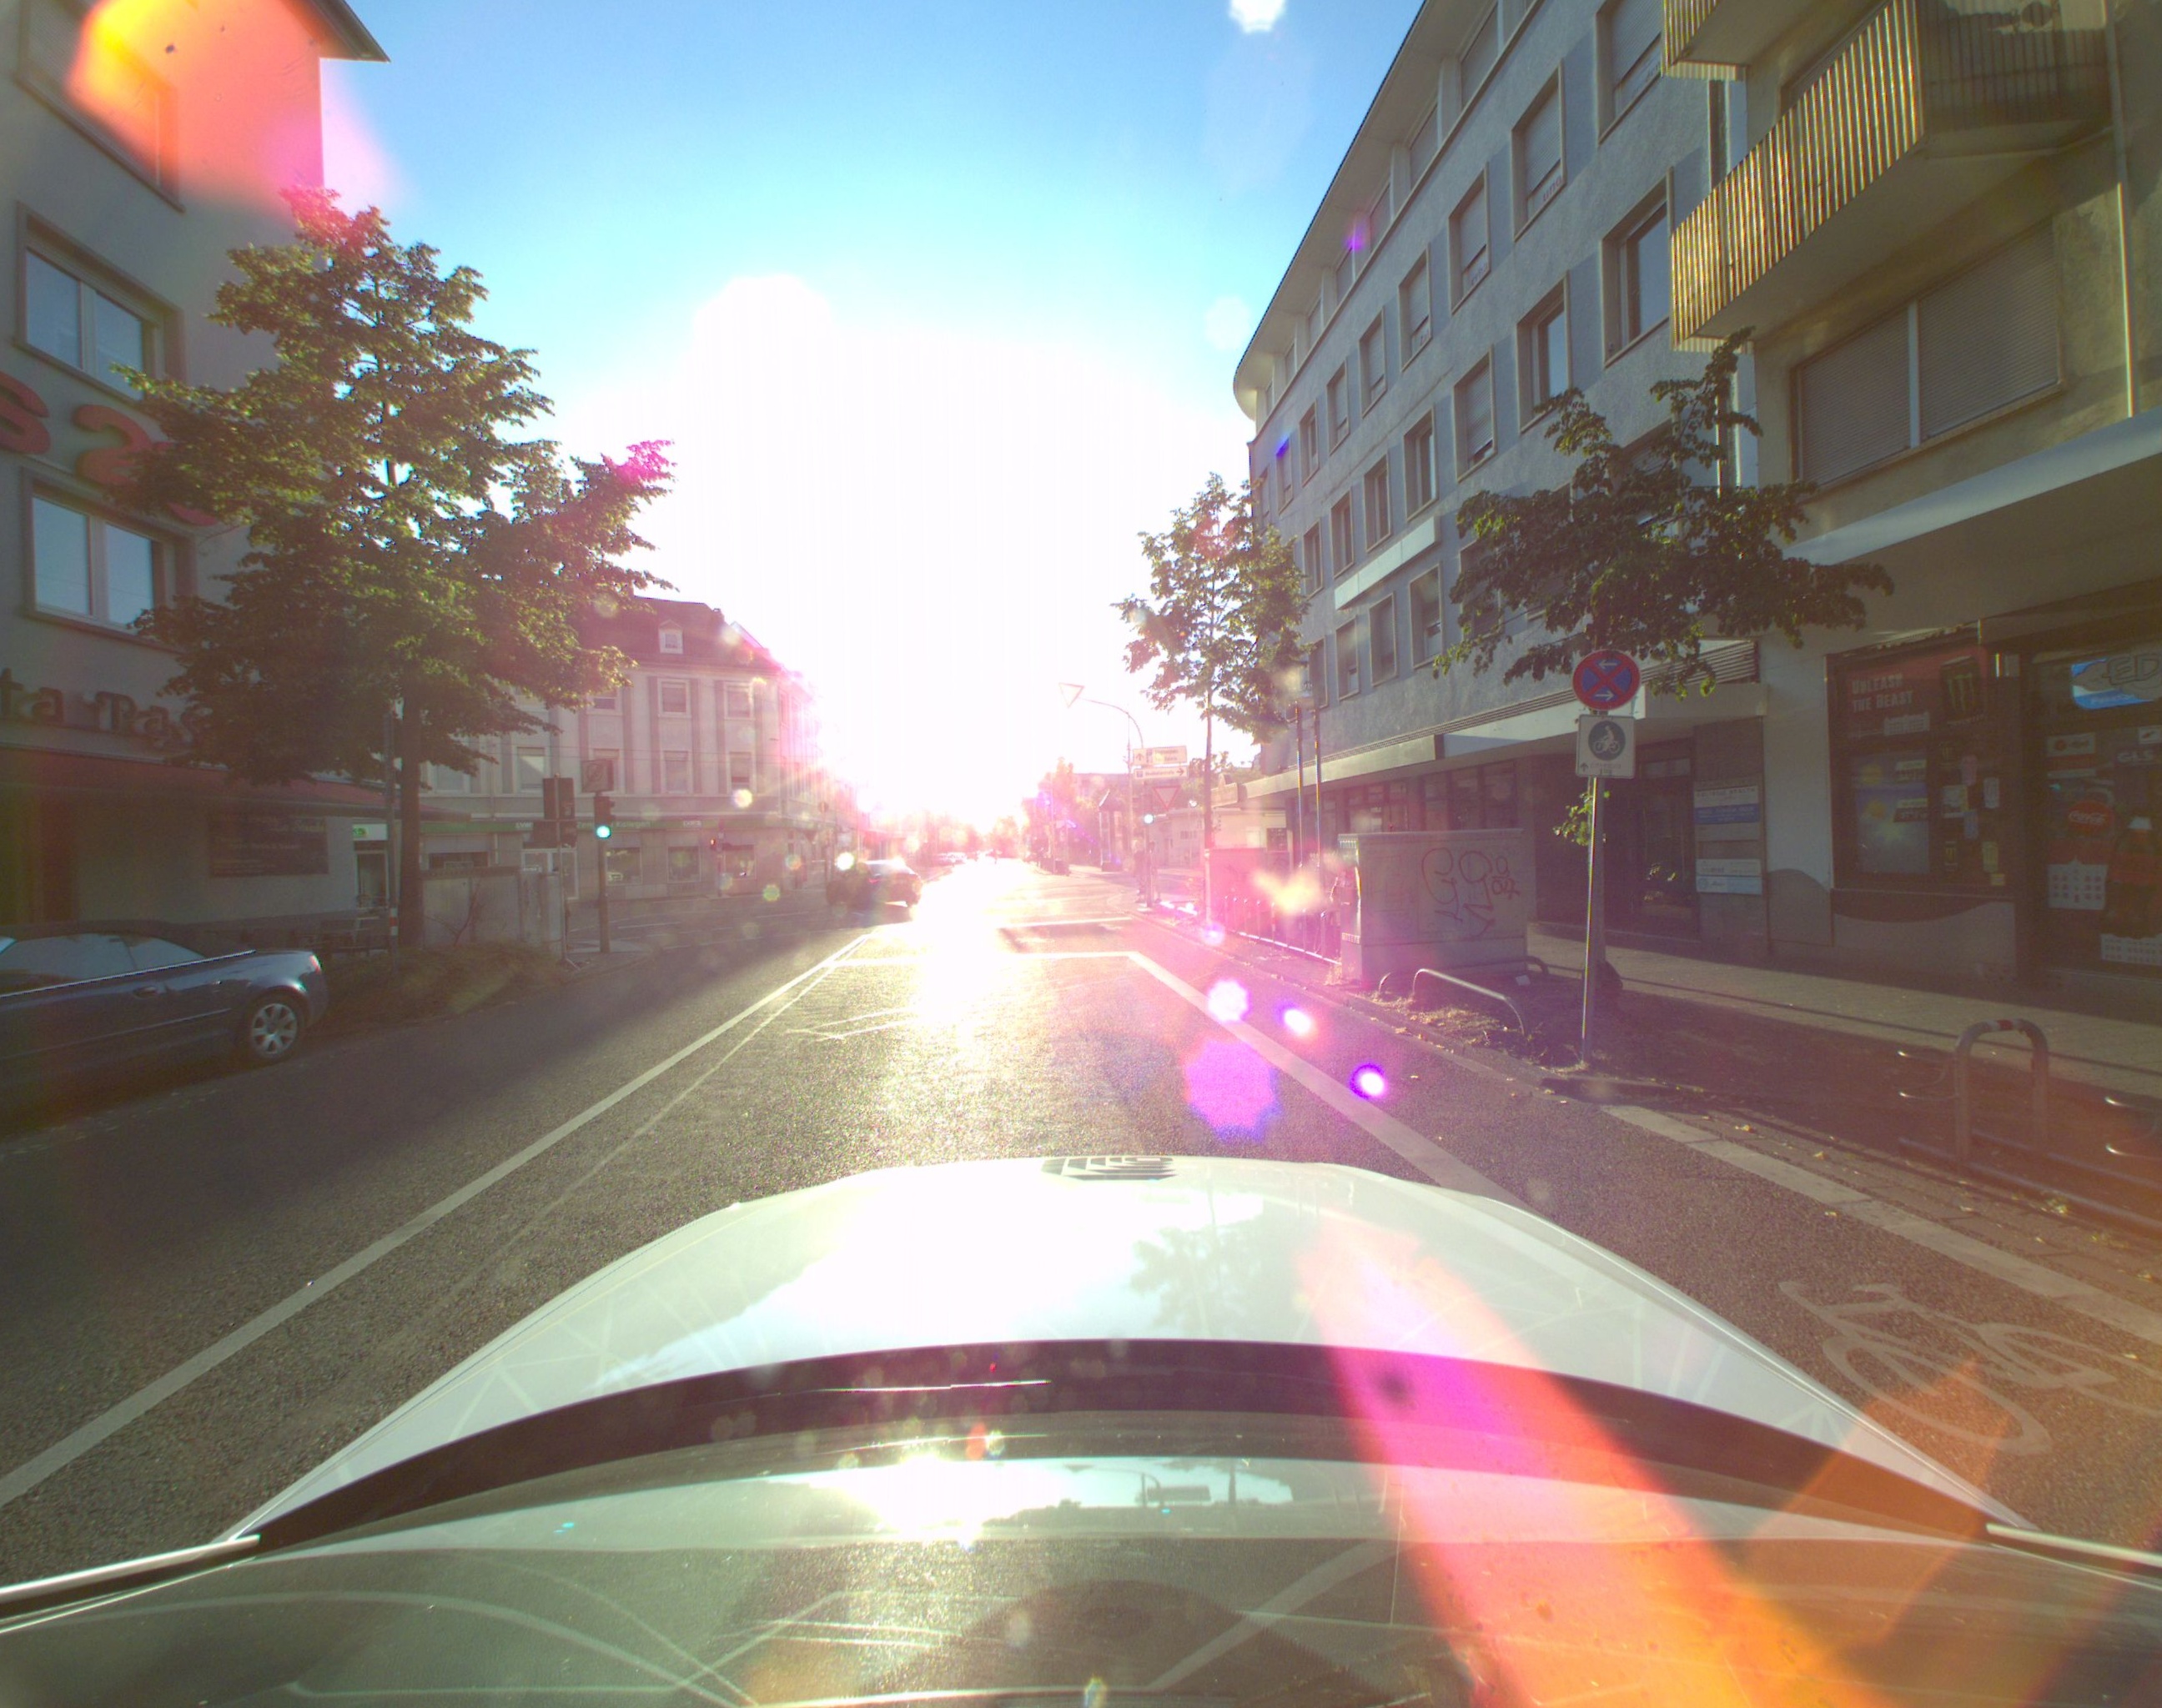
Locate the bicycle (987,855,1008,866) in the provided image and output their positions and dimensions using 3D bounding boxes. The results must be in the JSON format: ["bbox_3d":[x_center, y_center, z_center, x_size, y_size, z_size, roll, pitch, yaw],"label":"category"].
[{"bbox_3d":[-8.873,0.701,86.287,2.108,1.204,0.501,0,-1,4],"label":"bicycle"}]

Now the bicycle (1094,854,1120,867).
[{"bbox_3d":[2.170,0.519,67.688,2.070,0.982,0.560,-2,-1,1],"label":"bicycle"}]

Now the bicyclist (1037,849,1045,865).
[{"bbox_3d":[-4.125,0.288,84.078,0.847,1.658,0.676,0,-1,1],"label":"bicyclist"}]

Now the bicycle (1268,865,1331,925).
[{"bbox_3d":[4.145,0.753,15.550,0.403,1.010,1.663,-4,1,-12],"label":"bicycle"}]

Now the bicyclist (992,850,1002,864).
[{"bbox_3d":[-8.894,0.359,86.310,0.895,1.481,0.736,0,-1,5],"label":"bicyclist"}]

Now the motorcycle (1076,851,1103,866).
[{"bbox_3d":[0.739,0.392,70.703,2.228,1.201,0.720,-2,0,-2],"label":"motorcycle"}]

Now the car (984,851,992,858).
[{"bbox_3d":[-26.646,0.117,233.447,1.990,1.816,3.993,0,-1,-5],"label":"car"}]

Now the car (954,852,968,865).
[{"bbox_3d":[-14.314,0.552,97.104,1.543,1.468,3.343,-1,0,-7],"label":"car"}]

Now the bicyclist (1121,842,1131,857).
[{"bbox_3d":[4.671,-0.446,84.569,0.954,1.601,0.648,-1,-1,9],"label":"bicyclist"}]

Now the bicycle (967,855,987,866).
[{"bbox_3d":[-11.485,0.724,89.766,2.102,1.204,0.502,-1,-1,15],"label":"bicycle"}]

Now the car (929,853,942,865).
[{"bbox_3d":[-18.896,0.605,105.809,1.543,1.469,3.343,-1,0,-7],"label":"car"}]

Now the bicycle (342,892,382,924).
[{"bbox_3d":[-26.660,1.987,30.222,0.499,1.059,1.730,-2,0,-21],"label":"bicycle"}]

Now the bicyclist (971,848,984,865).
[{"bbox_3d":[-11.403,0.273,89.779,1.120,1.791,0.768,-1,-1,17],"label":"bicyclist"}]

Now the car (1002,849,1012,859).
[{"bbox_3d":[-15.903,-0.046,174.927,1.990,2.014,3.993,0,-1,-5],"label":"car"}]

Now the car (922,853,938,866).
[{"bbox_3d":[-18.004,0.620,97.252,1.543,1.483,3.344,-2,0,-7],"label":"car"}]

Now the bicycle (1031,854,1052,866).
[{"bbox_3d":[-4.108,0.662,84.072,2.110,1.204,0.500,0,-1,1],"label":"bicycle"}]

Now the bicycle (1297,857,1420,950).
[{"bbox_3d":[3.880,0.660,11.393,1.662,1.194,0.491,-2,0,-20],"label":"bicycle"}]

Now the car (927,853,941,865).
[{"bbox_3d":[-18.218,0.602,100.888,1.543,1.469,3.343,-1,0,-7],"label":"car"}]

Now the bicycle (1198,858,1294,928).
[{"bbox_3d":[3.014,0.693,14.892,1.658,1.194,0.475,-2,1,-12],"label":"bicycle"}]

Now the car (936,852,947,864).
[{"bbox_3d":[-19.229,0.506,112.510,1.306,1.582,2.881,-1,0,-7],"label":"car"}]

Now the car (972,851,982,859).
[{"bbox_3d":[-23.574,0.315,183.894,1.990,1.684,3.994,-2,0,-5],"label":"car"}]

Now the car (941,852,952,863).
[{"bbox_3d":[-19.499,0.485,118.297,1.481,1.559,3.250,-1,0,-7],"label":"car"}]

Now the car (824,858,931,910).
[{"bbox_3d":[-6.596,0.897,26.046,1.904,1.480,4.495,0,-1,-34],"label":"car"}]

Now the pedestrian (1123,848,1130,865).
[{"bbox_3d":[4.542,0.230,81.394,0.678,1.657,0.696,0,-1,1],"label":"pedestrian"}]

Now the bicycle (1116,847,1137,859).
[{"bbox_3d":[4.709,-0.070,84.567,2.105,1.204,0.501,-1,-1,8],"label":"bicycle"}]

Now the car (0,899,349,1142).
[{"bbox_3d":[-7.614,1.148,5.551,1.647,1.353,4.302,-3,0,-6],"label":"car"}]

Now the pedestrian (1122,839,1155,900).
[{"bbox_3d":[1.712,0.455,24.385,0.589,1.773,0.741,-2,0,-37],"label":"pedestrian"}]

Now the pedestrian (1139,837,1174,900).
[{"bbox_3d":[2.163,0.410,23.411,0.641,1.773,0.743,-2,0,-27],"label":"pedestrian"}]

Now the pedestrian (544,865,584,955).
[{"bbox_3d":[-9.862,1.041,15.524,0.589,1.656,0.791,-2,0,-34],"label":"pedestrian"}]
